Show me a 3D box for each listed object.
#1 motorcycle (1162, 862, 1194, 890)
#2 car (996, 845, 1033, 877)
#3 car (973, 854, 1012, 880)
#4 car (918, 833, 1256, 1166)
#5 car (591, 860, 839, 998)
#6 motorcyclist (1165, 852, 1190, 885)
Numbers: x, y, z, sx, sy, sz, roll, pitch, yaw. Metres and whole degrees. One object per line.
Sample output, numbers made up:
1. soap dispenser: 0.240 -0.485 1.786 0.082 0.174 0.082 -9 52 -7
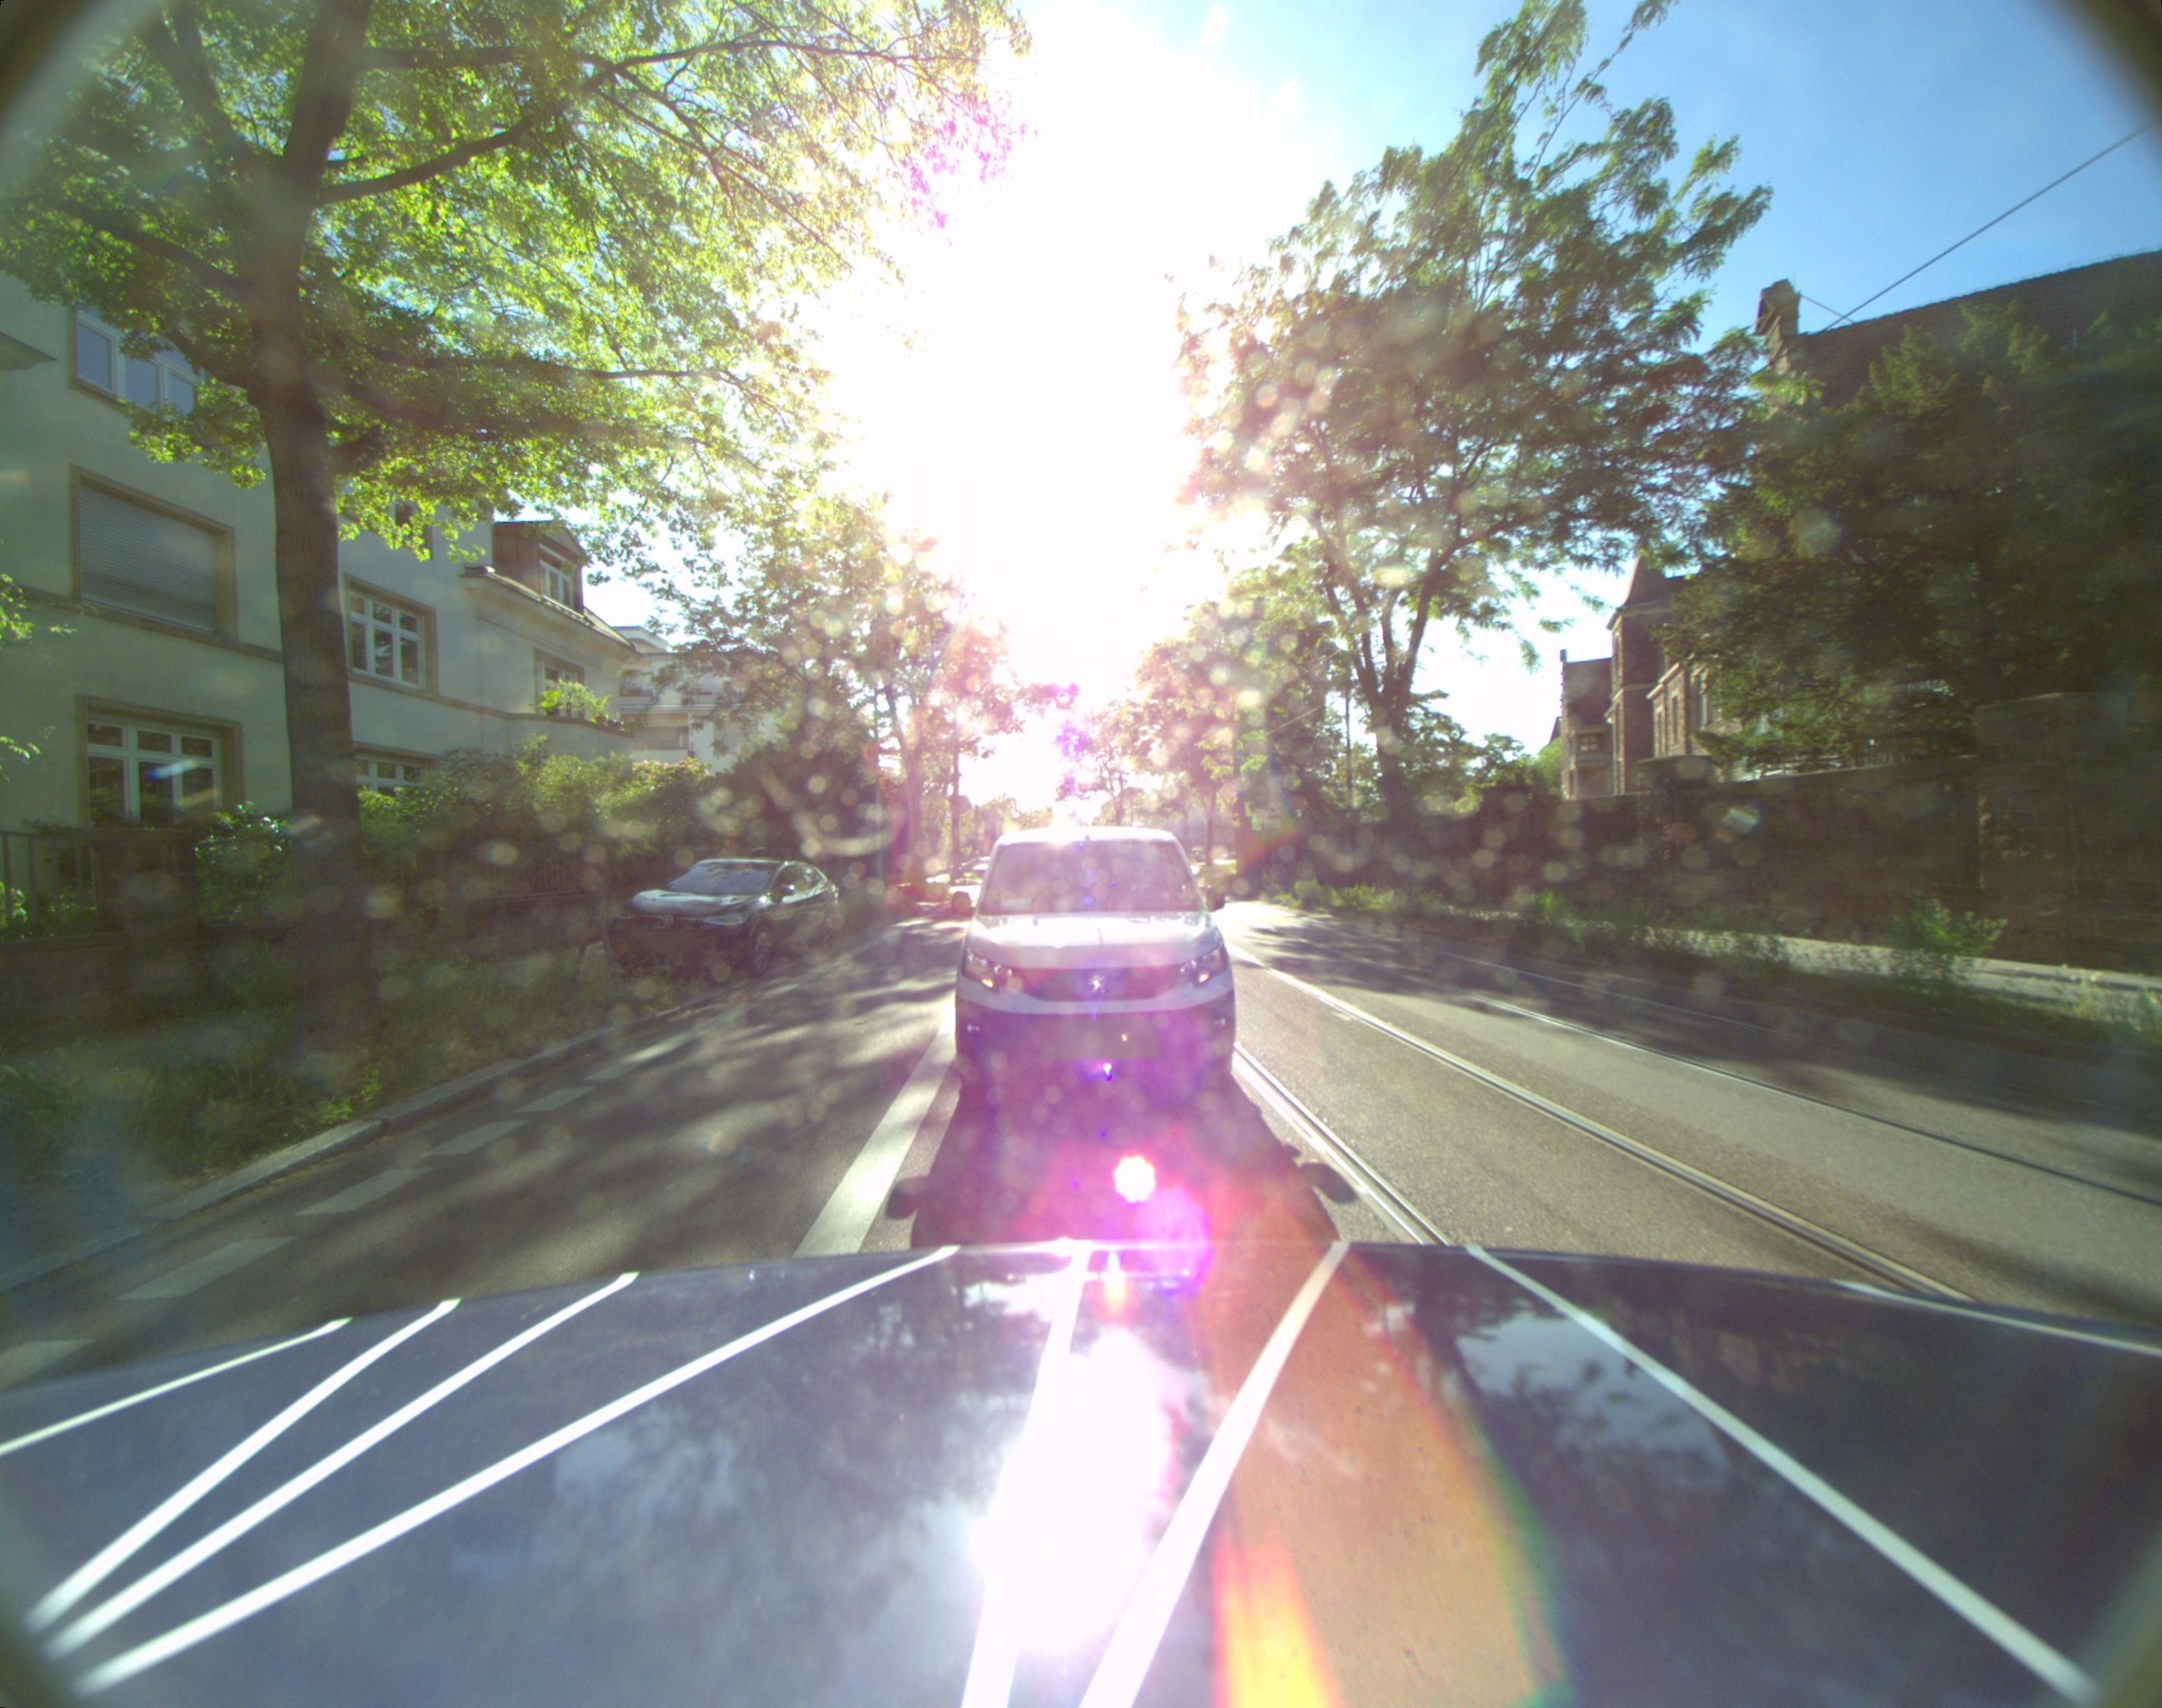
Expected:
1. motorcycle: 4.204 0.939 33.018 0.914 1.146 2.428 -2 0 -3
2. car: -4.500 0.439 51.920 1.998 2.002 4.583 -2 0 1
3. car: -5.251 0.760 45.454 1.787 1.443 4.000 -2 0 1
4. car: 0.049 0.789 6.527 1.793 1.770 4.786 -2 0 0
5. car: -5.172 0.949 11.441 1.743 1.597 4.091 2 0 -1
6. motorcyclist: 4.198 0.609 33.001 0.891 1.375 0.908 -2 1 -4
